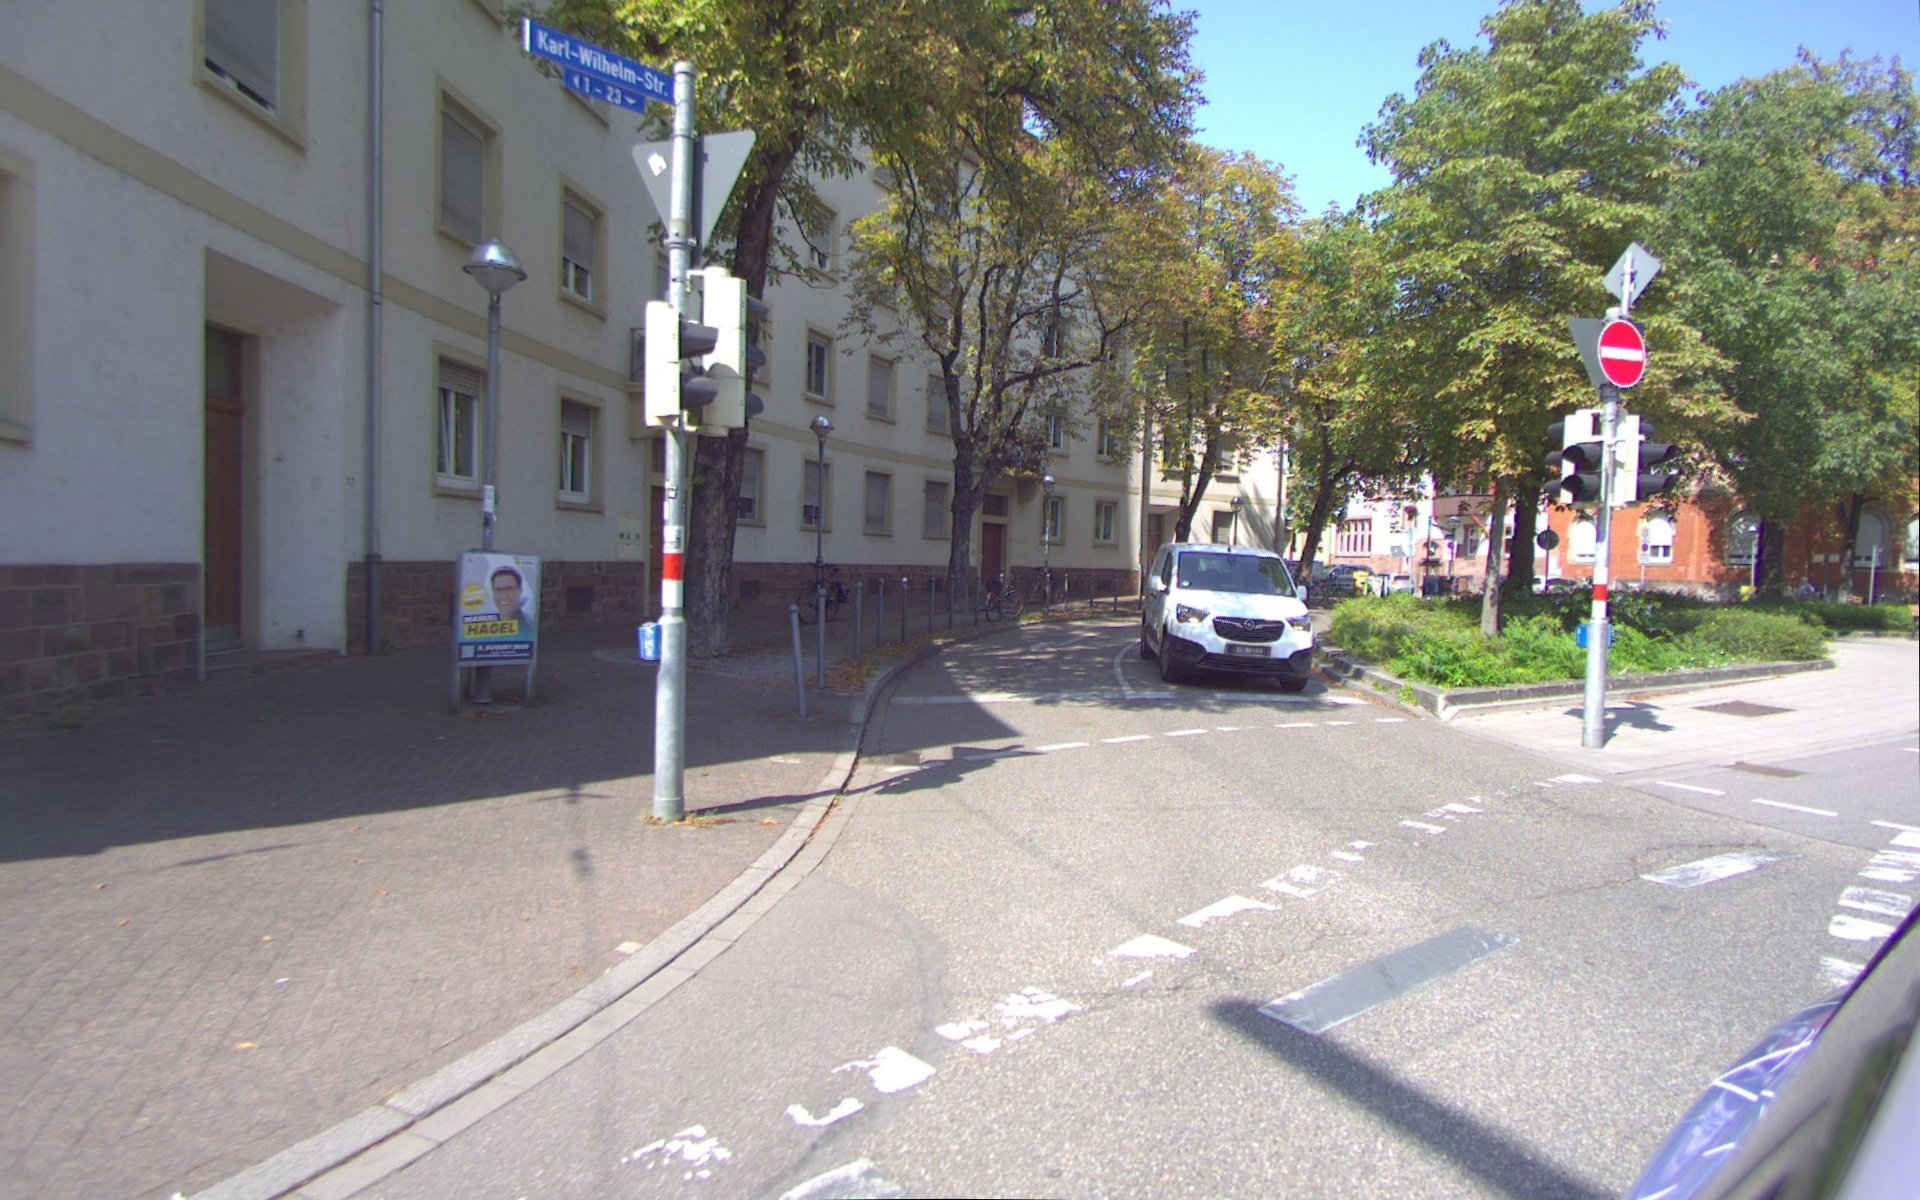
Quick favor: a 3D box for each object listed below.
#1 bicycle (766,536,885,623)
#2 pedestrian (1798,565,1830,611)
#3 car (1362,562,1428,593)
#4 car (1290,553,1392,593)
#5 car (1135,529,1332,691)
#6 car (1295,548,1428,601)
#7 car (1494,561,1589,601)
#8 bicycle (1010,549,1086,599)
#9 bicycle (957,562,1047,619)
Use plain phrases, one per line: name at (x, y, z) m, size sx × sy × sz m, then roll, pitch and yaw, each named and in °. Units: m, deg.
bicycle at (-2.456, -0.407, 18.965) m, size 1.010 × 1.470 × 2.672 m, roll 3°, pitch 3°, yaw 21°
pedestrian at (35.844, -0.509, 42.469) m, size 0.667 × 1.908 × 0.917 m, roll 2°, pitch 2°, yaw 20°
car at (27.250, -1.446, 63.600) m, size 1.768 × 1.834 × 4.424 m, roll 1°, pitch 3°, yaw -6°
car at (19.007, -1.352, 50.654) m, size 4.329 × 1.834 × 1.806 m, roll 2°, pitch 2°, yaw -3°
car at (3.544, 0.017, 13.959) m, size 1.772 × 1.834 × 4.412 m, roll 2°, pitch 2°, yaw 5°
car at (15.541, -1.028, 39.318) m, size 4.335 × 1.833 × 1.804 m, roll 2°, pitch 3°, yaw 2°
car at (29.242, -1.020, 51.052) m, size 1.768 × 1.834 × 4.424 m, roll 1°, pitch 3°, yaw -6°
bicycle at (2.597, -0.774, 29.769) m, size 2.314 × 1.427 × 0.890 m, roll -1°, pitch 2°, yaw -42°
bicycle at (0.962, -0.225, 22.464) m, size 0.807 × 1.138 × 2.239 m, roll 7°, pitch 5°, yaw 37°
